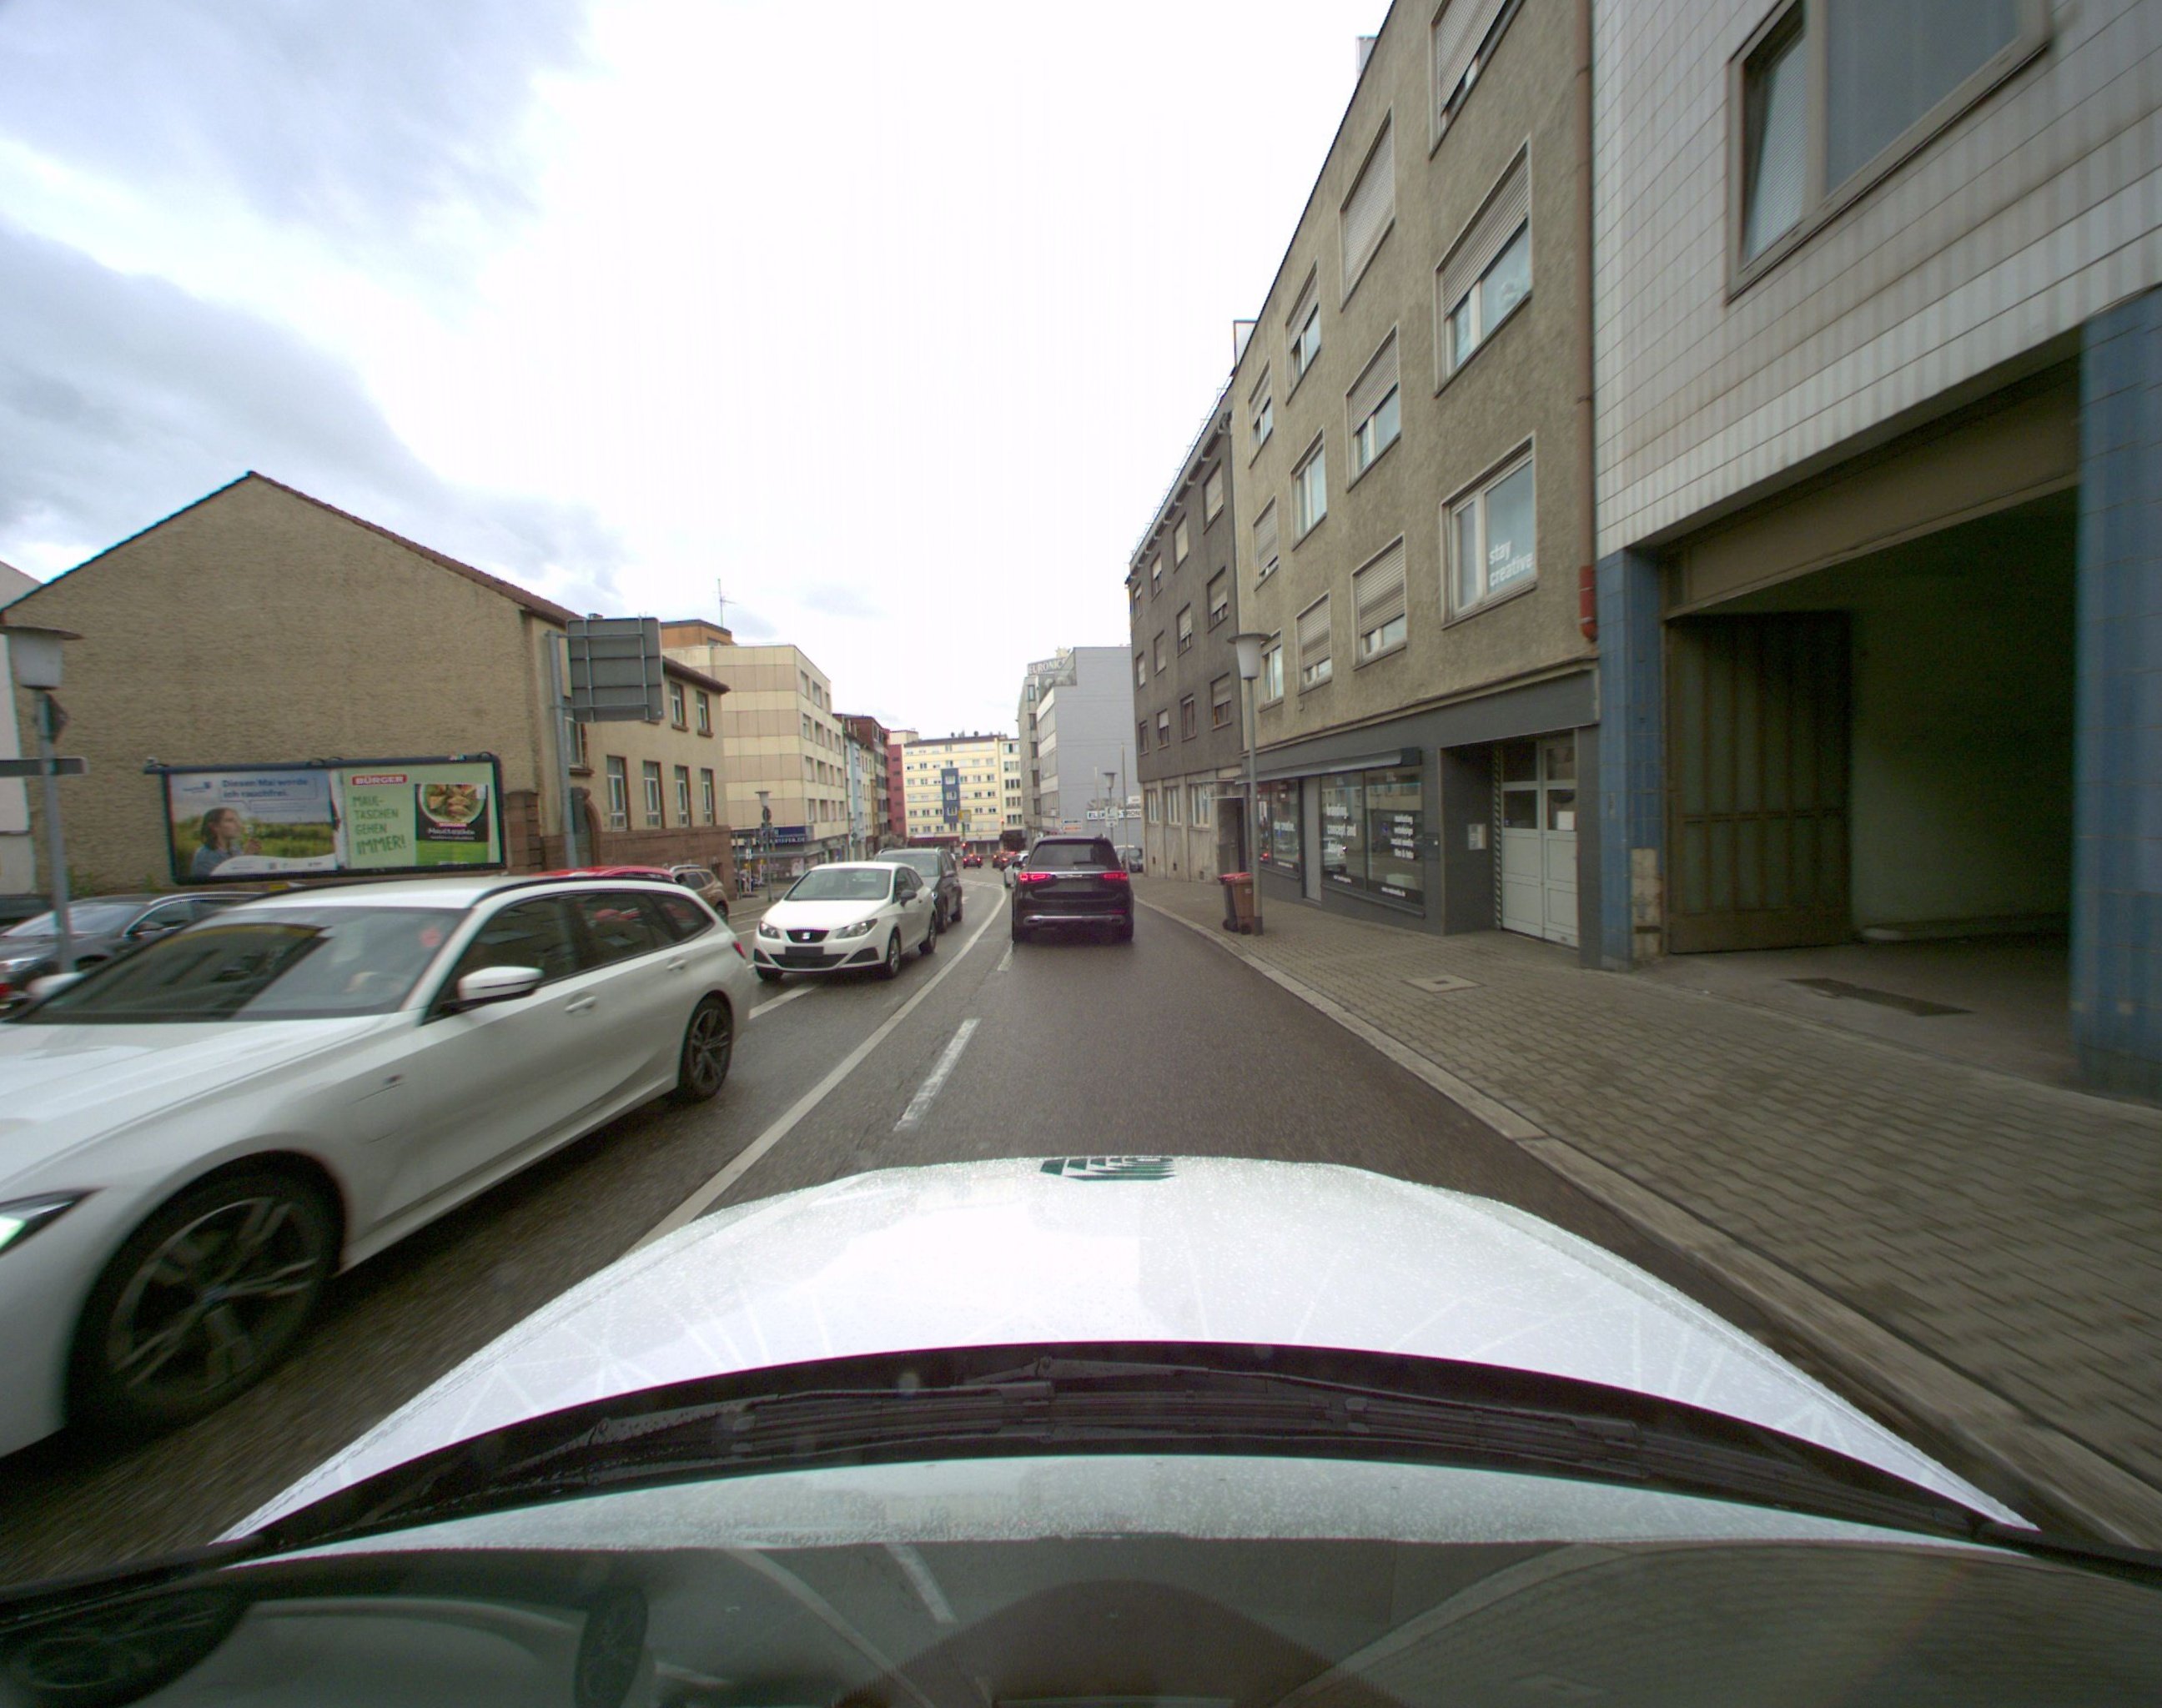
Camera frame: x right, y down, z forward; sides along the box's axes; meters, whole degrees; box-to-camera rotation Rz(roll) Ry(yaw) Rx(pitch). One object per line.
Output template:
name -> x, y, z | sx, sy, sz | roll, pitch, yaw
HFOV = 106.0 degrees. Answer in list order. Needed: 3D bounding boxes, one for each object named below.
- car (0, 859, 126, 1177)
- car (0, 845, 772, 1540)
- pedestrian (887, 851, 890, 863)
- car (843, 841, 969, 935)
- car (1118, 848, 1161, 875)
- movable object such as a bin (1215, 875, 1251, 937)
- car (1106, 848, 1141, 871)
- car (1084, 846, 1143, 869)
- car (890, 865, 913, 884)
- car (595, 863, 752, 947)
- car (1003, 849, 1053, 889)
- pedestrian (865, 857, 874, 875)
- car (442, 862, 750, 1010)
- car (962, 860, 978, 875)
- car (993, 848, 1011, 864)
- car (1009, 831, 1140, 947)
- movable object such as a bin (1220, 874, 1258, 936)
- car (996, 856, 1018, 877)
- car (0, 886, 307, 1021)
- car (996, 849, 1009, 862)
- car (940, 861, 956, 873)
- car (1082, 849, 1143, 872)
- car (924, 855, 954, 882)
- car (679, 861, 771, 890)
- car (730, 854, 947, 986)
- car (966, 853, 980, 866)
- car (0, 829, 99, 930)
car -> -6.533, 0.905, 2.550 | 1.800, 1.631, 4.343 | -5, 0, 1
car -> -3.273, 0.791, 3.825 | 1.800, 1.521, 4.561 | -2, 0, 0
pedestrian -> -25.135, 0.360, 106.281 | 0.317, 1.474, 0.338 | -2, 4, -3
car -> -3.514, 0.629, 17.181 | 1.802, 1.705, 4.558 | 0, 0, -2
car -> 3.453, 0.438, 48.541 | 1.794, 1.477, 4.475 | -1, 0, -6
movable object such as a bin -> 2.602, 0.887, 13.947 | 0.523, 0.980, 0.538 | -1, 4, 1
car -> 2.767, 0.341, 53.945 | 1.564, 1.477, 4.059 | -1, 0, -8
car -> 2.404, 0.235, 60.745 | 4.008, 1.597, 1.783 | -1, -1, -27
car -> -16.638, 1.850, 75.627 | 1.714, 1.586, 4.131 | -5, 0, -9
car -> -9.297, 1.082, 18.976 | 1.651, 1.610, 3.926 | -4, 0, -1
car -> -2.268, 0.570, 33.830 | 1.828, 1.461, 4.369 | -3, 0, -6
pedestrian -> -20.310, 1.175, 78.058 | 0.740, 1.652, 0.604 | -2, 4, -11
car -> -6.274, 0.932, 11.196 | 1.735, 1.516, 4.128 | -4, 0, -1
car -> -10.324, 1.210, 75.718 | 1.283, 1.124, 2.784 | -2, 4, -4
car -> -8.071, 0.231, 82.963 | 1.522, 1.548, 3.097 | -2, 1, -10
car -> -0.236, 0.542, 15.110 | 2.016, 1.739, 4.741 | -2, 0, -4
movable object such as a bin -> 2.585, 0.827, 13.378 | 0.523, 0.950, 0.538 | -1, 4, 1
car -> -6.045, 1.009, 66.336 | 1.522, 1.548, 3.097 | -2, 1, -10
car -> -14.175, 1.304, 11.860 | 1.688, 1.455, 4.655 | 0, 0, -6
car -> -9.863, 0.168, 102.453 | 1.520, 1.548, 3.101 | -2, 1, -6
car -> -16.226, 1.574, 99.285 | 1.716, 1.317, 4.125 | -3, 1, -13
car -> 2.215, 0.470, 57.992 | 4.008, 1.495, 1.718 | -1, -1, -27
car -> -9.026, 0.897, 51.713 | 1.723, 1.516, 4.354 | -4, 0, -10
car -> -20.256, 1.192, 46.443 | 4.315, 1.512, 1.899 | -1, 0, 3
car -> -3.080, 0.756, 11.306 | 1.692, 1.480, 4.291 | 0, 0, 0
car -> -11.170, 0.571, 84.191 | 1.283, 1.124, 2.784 | -2, 4, -4
car -> -16.474, 0.398, 11.047 | 1.687, 1.464, 3.850 | -2, 0, -3
